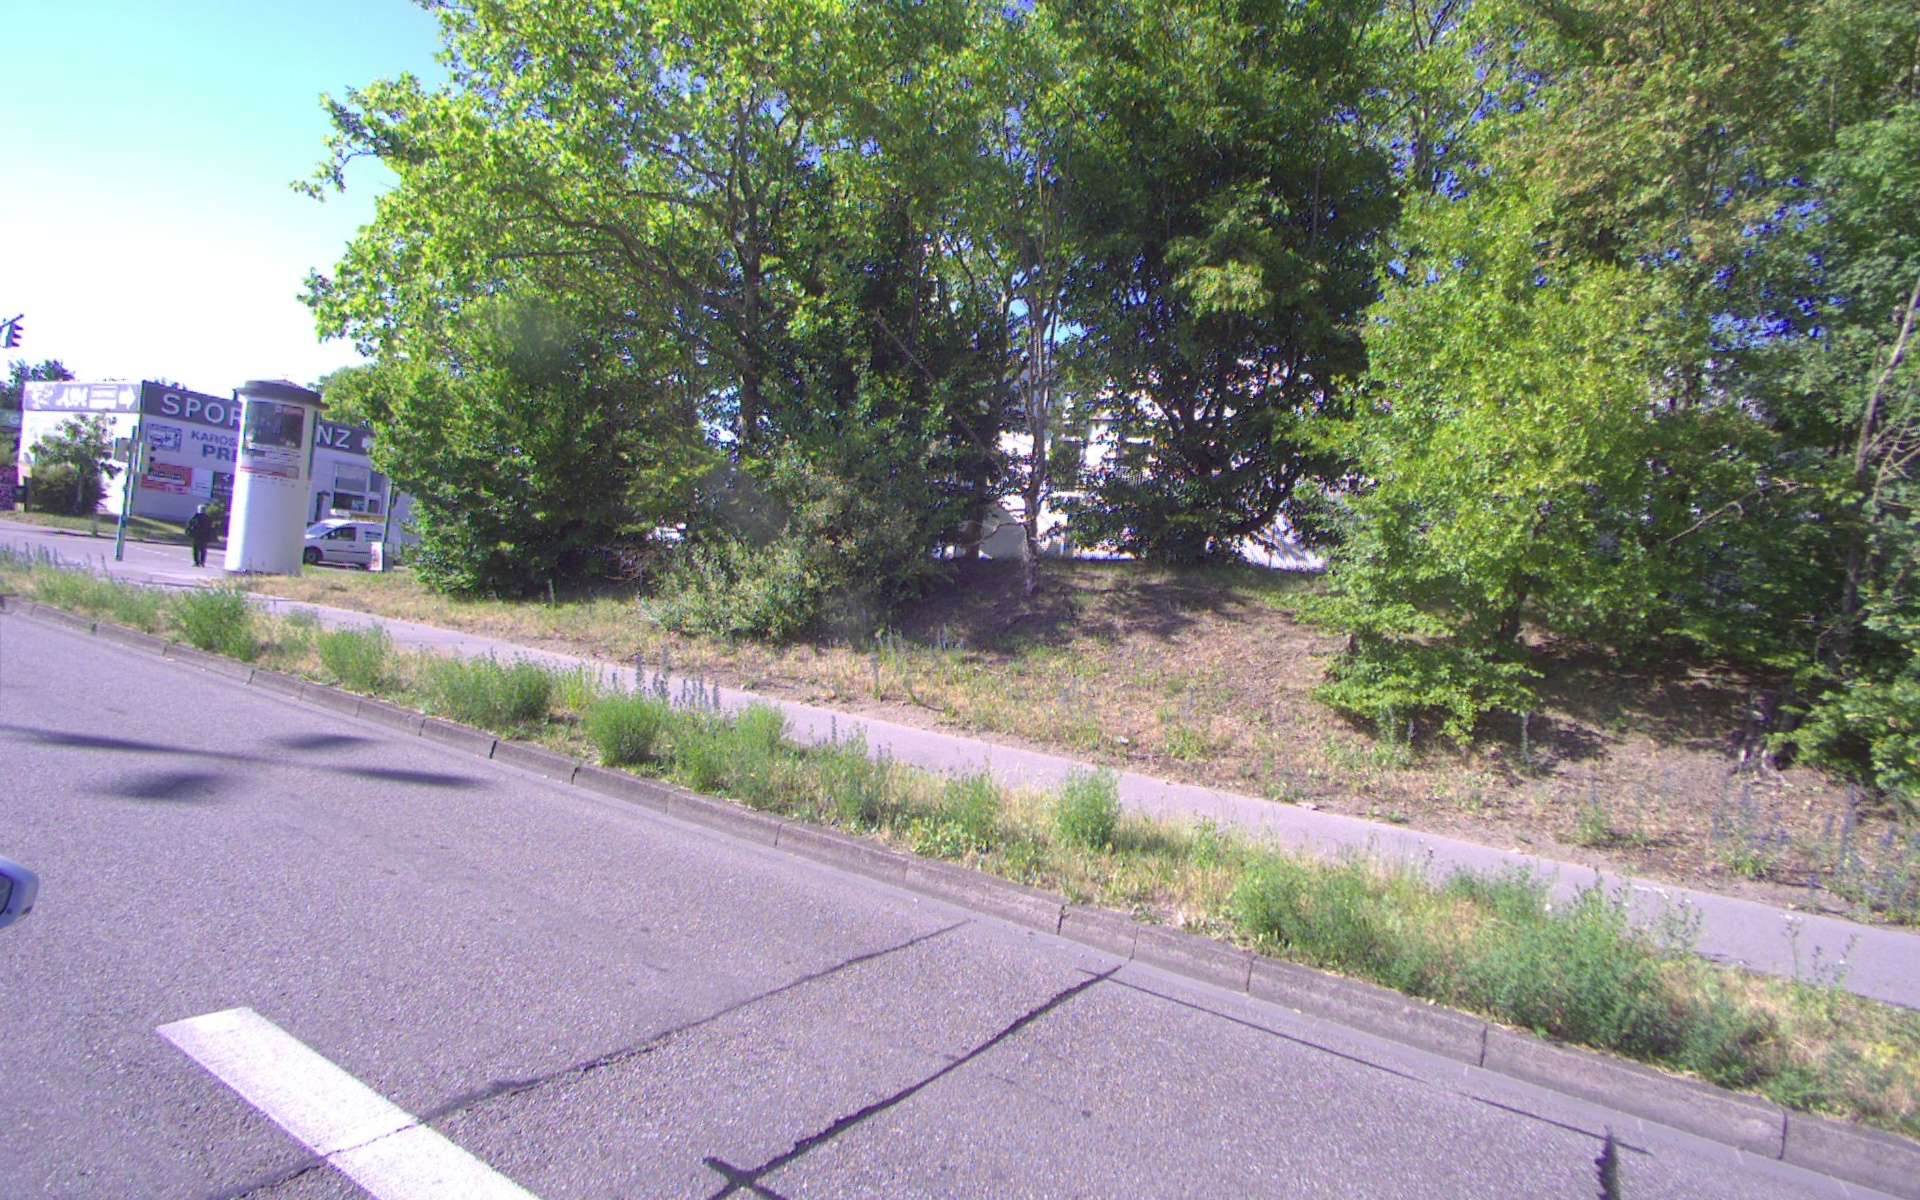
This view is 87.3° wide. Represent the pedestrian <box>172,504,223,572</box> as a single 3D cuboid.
[{"bbox_3d":[-21.221,-1.721,27.997,0.841,1.743,0.822,7,0,39],"label":"pedestrian"}]

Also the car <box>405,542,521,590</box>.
[{"bbox_3d":[-22.928,-1.551,46.575,1.965,1.571,4.415,7,-1,28],"label":"car"}]

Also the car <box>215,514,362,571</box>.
[{"bbox_3d":[-26.830,-2.280,40.349,1.965,1.571,4.415,7,-1,28],"label":"car"}]

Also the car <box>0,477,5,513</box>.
[{"bbox_3d":[-48.287,-5.342,47.689,1.663,1.726,4.003,7,-1,16],"label":"car"}]

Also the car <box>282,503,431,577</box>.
[{"bbox_3d":[-23.387,-2.285,39.177,1.965,2.171,4.415,7,-1,28],"label":"car"}]
